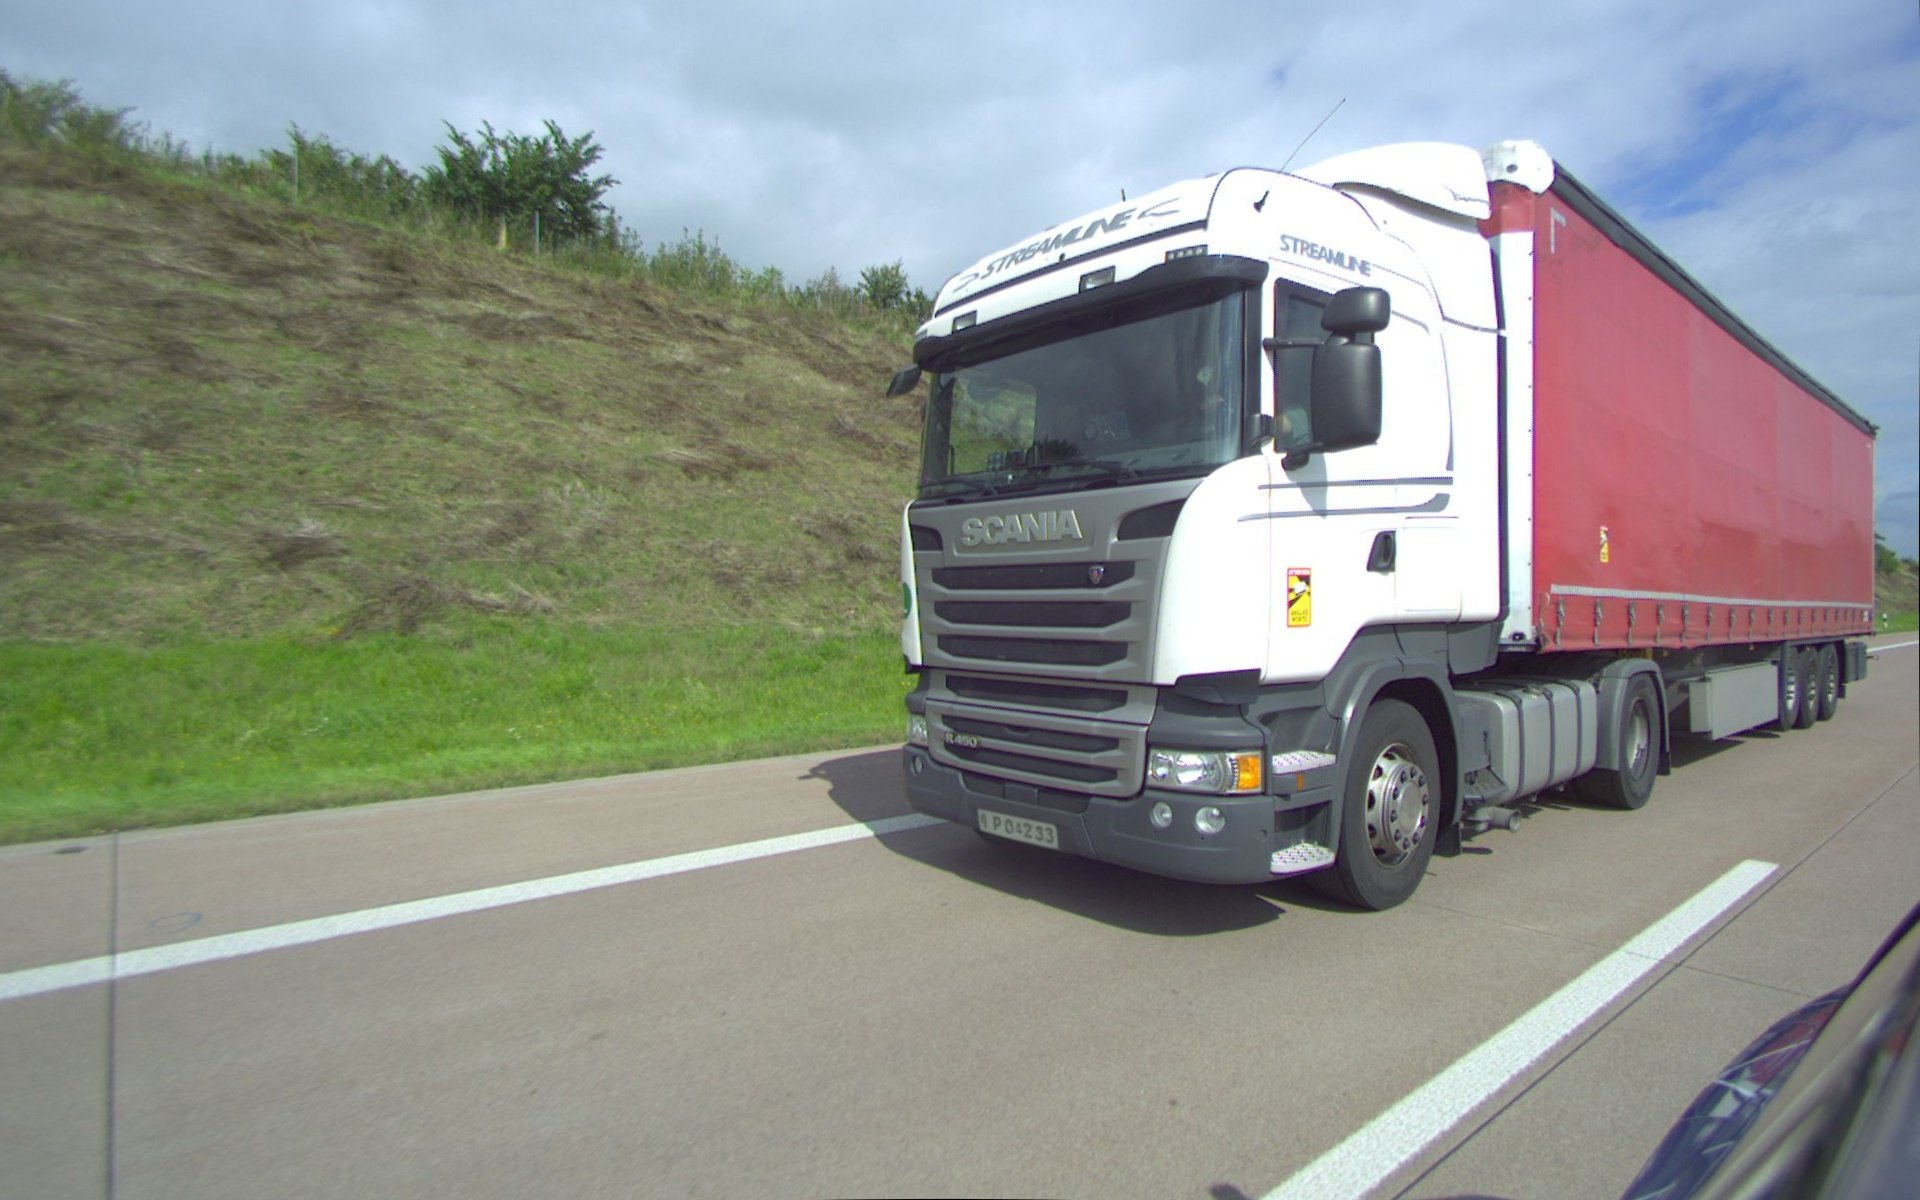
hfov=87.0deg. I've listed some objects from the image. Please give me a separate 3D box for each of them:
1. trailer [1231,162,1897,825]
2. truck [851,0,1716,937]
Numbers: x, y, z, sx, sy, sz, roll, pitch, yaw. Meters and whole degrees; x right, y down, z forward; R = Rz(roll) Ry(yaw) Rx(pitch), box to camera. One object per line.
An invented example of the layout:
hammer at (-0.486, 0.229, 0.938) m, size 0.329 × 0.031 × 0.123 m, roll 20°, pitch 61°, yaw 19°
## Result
trailer at (7.861, -0.709, 11.469) m, size 12.565 × 4.145 × 2.677 m, roll 0°, pitch 1°, yaw -41°
truck at (2.699, -0.844, 6.965) m, size 6.500 × 4.157 × 2.679 m, roll 0°, pitch 1°, yaw -41°
